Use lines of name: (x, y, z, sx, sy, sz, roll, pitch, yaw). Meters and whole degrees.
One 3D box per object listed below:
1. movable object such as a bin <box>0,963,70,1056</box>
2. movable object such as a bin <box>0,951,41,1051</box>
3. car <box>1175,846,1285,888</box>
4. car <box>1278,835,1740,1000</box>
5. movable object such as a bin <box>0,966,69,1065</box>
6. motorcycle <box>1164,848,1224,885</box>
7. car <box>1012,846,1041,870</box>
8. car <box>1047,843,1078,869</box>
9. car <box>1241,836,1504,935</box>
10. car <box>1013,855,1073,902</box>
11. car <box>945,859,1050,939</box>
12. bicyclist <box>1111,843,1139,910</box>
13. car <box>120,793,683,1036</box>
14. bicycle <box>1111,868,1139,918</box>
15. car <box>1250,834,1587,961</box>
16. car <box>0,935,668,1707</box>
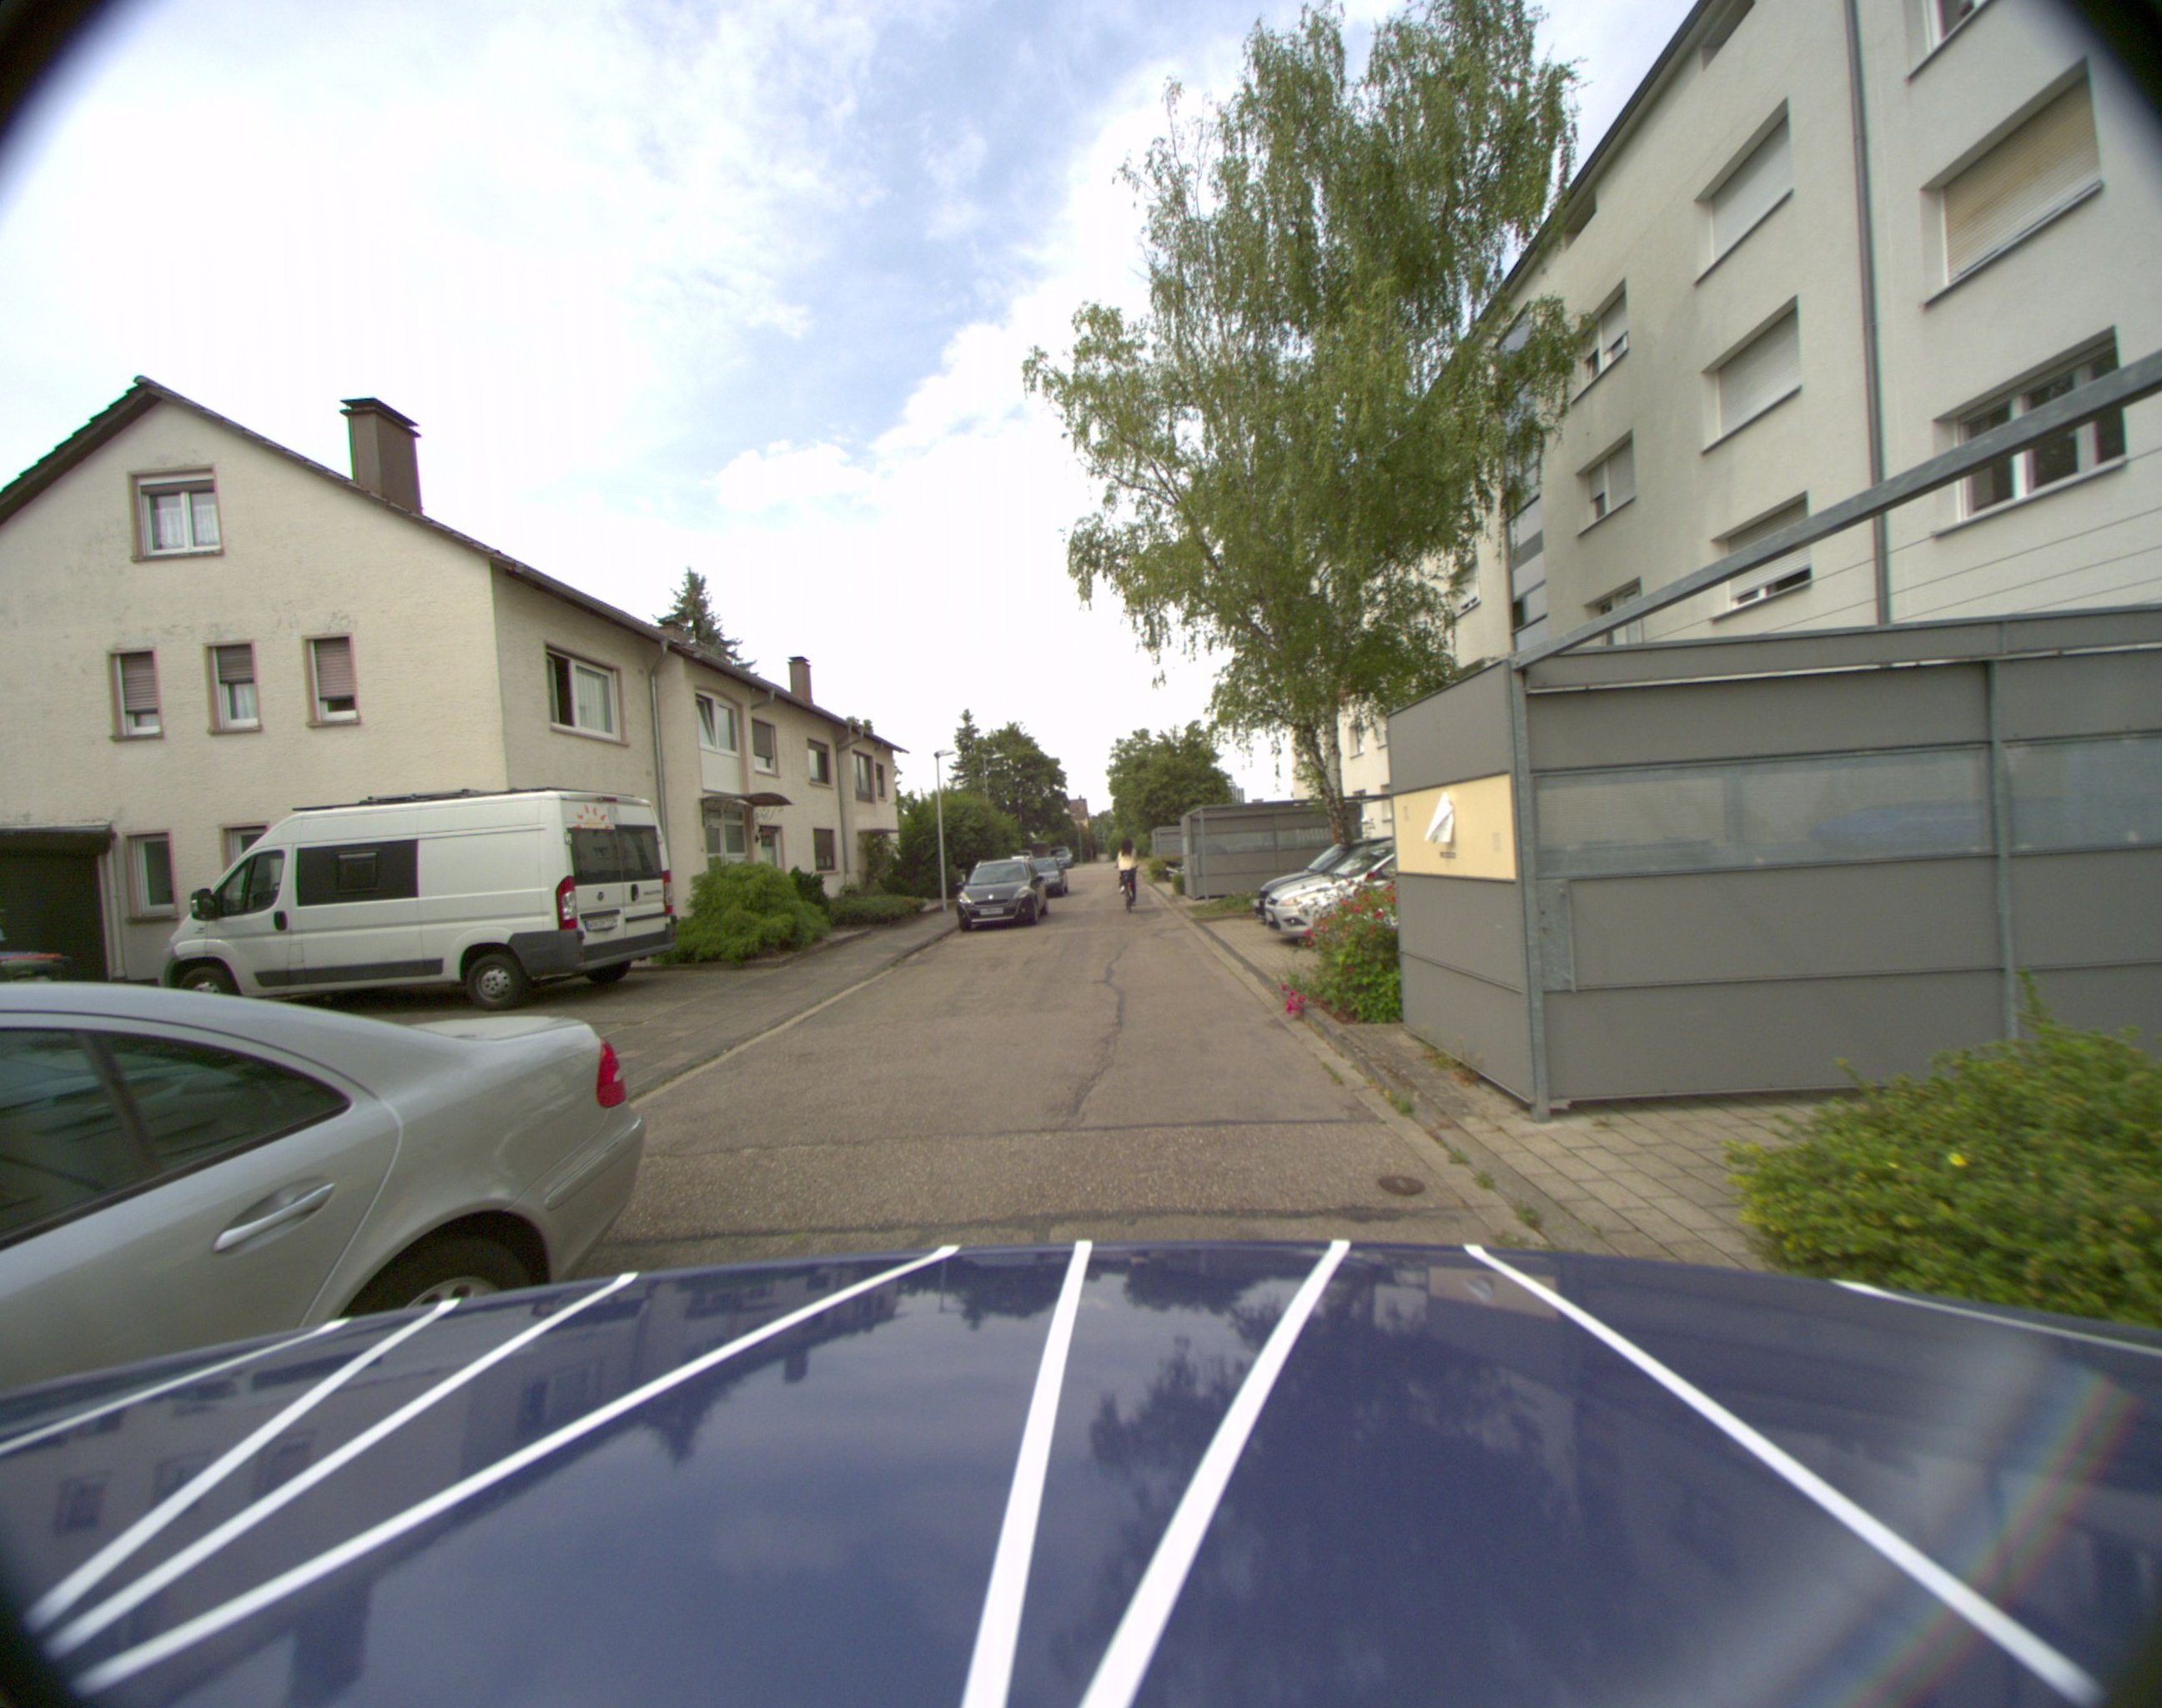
movable object such as a bin: (-11.489, 1.679, 8.248, 0.450, 0.920, 0.402, -2, 1, 2)
movable object such as a bin: (-11.992, 1.627, 8.301, 0.456, 1.050, 0.546, -2, 1, 2)
car: (5.804, 0.486, 29.991, 3.996, 1.477, 1.903, -2, 1, 4)
car: (4.463, 0.631, 8.433, 4.061, 1.455, 1.782, -3, 1, 2)
movable object such as a bin: (-10.993, 1.648, 7.798, 0.520, 0.920, 0.482, -2, 1, 2)
motorcycle: (4.727, 0.525, 31.814, 2.382, 1.455, 0.714, -2, 1, 2)
car: (-3.851, 0.263, 54.093, 1.705, 1.458, 3.998, -4, 2, 0)
car: (-1.252, 0.144, 53.403, 1.926, 1.576, 3.999, -5, 1, 0)
car: (5.133, 0.534, 13.805, 4.061, 1.496, 1.782, -3, 1, 2)
car: (-1.328, 0.844, 27.972, 1.834, 1.449, 4.190, -5, 0, 1)
car: (-1.802, 0.935, 17.721, 1.834, 1.449, 4.190, -5, 0, 1)
bicyclist: (1.072, 0.532, 18.525, 0.598, 1.572, 0.767, -2, 1, 4)
car: (-8.219, 0.693, 9.604, 5.099, 2.527, 2.238, -2, 1, 3)
bicycle: (1.099, 0.932, 18.640, 0.598, 1.070, 2.043, -2, 1, 4)
car: (4.687, 0.581, 11.033, 4.061, 1.496, 1.782, -3, 1, 2)
car: (-2.583, 1.093, 0.528, 1.787, 1.412, 4.456, -5, 0, 4)
